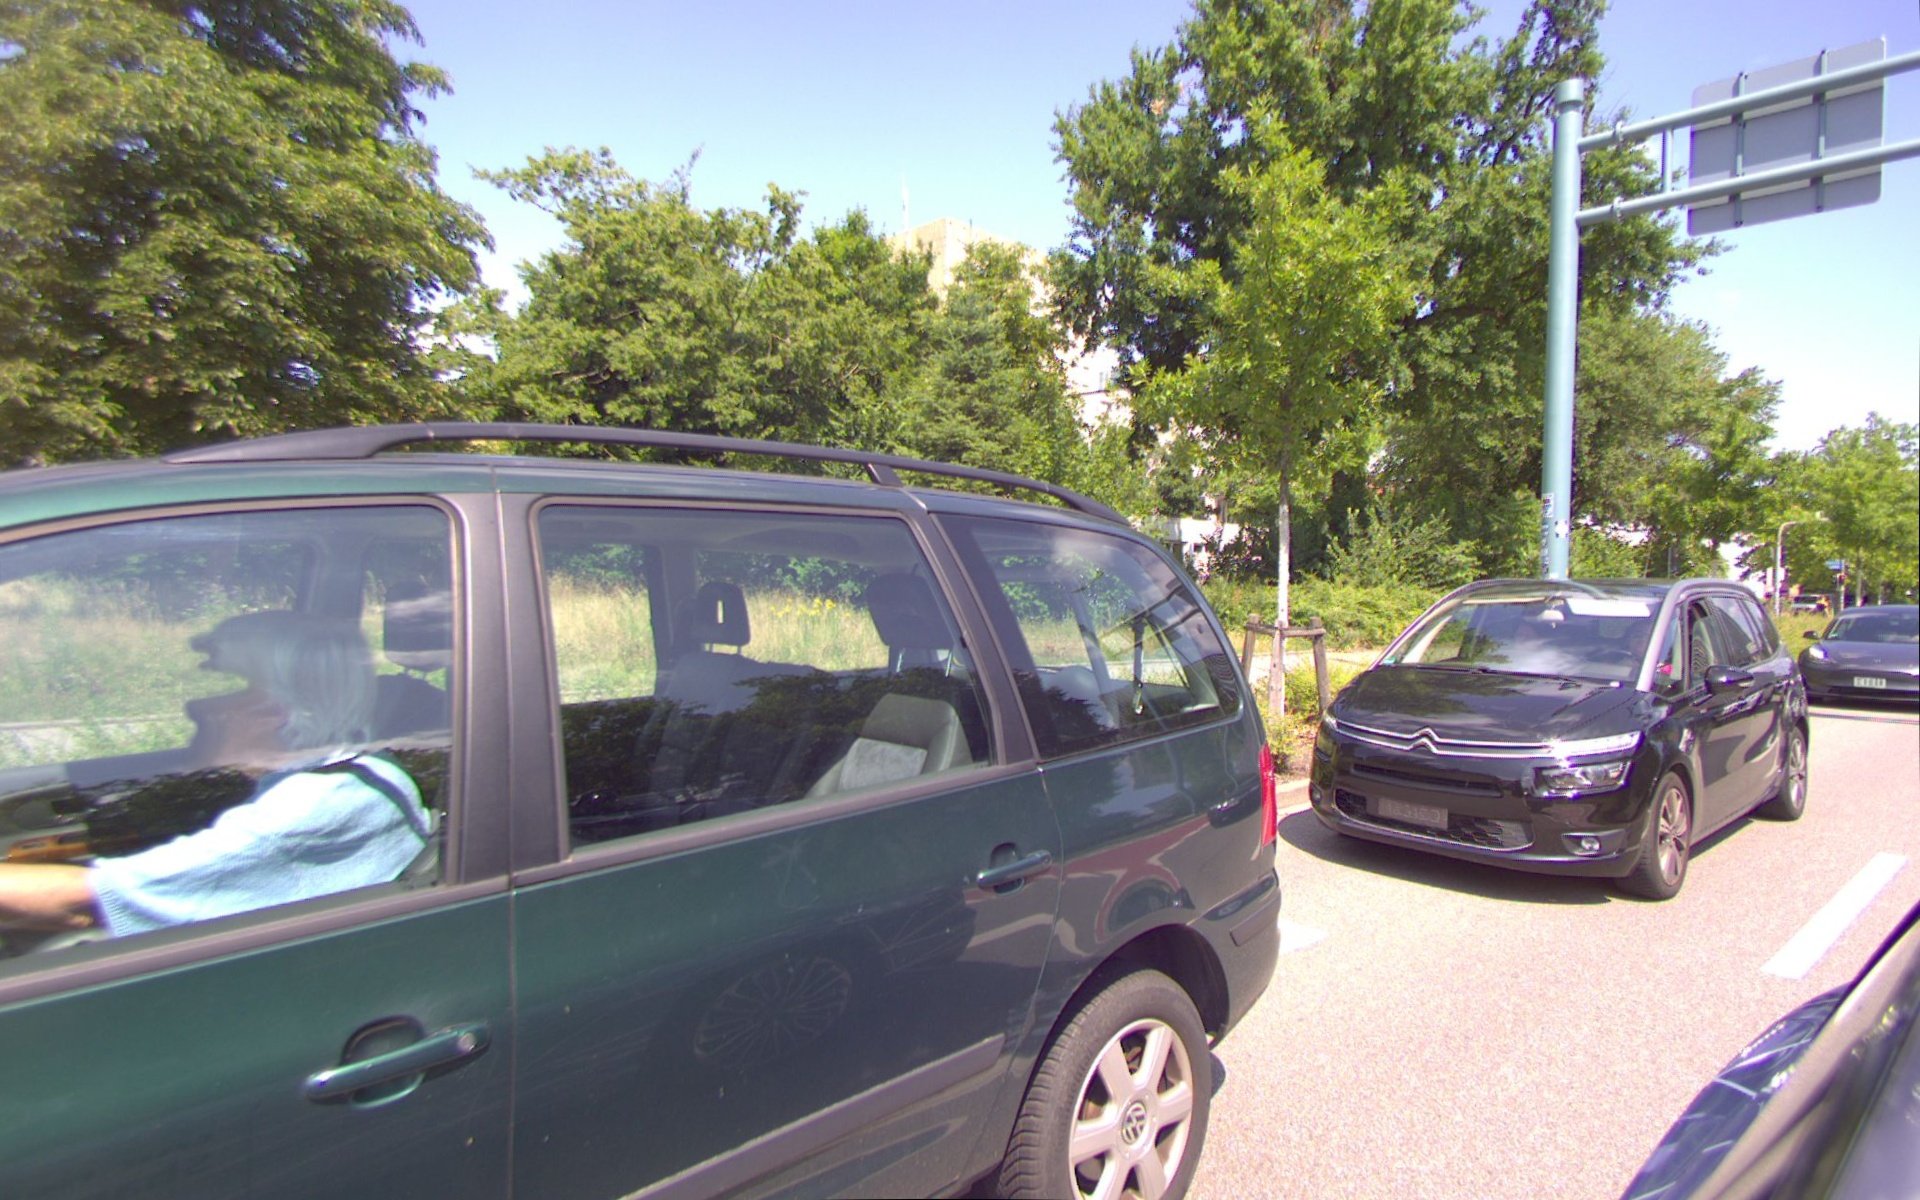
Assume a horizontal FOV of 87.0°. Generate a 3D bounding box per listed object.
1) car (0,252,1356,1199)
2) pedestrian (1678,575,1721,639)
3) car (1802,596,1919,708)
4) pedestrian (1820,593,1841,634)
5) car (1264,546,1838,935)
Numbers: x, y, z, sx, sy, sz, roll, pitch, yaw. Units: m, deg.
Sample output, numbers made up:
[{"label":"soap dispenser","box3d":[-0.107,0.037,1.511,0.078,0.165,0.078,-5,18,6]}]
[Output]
[{"label":"car","box3d":[-1.144,0.537,1.981,4.315,1.737,1.804,0,-1,-41]},{"label":"pedestrian","box3d":[24.095,0.217,32.962,0.884,2.063,0.846,1,0,-35]},{"label":"car","box3d":[13.786,0.678,14.652,4.085,1.386,1.805,-1,2,-41]},{"label":"pedestrian","box3d":[38.605,0.597,44.879,0.637,1.787,0.874,2,1,39]},{"label":"car","box3d":[3.936,0.601,6.384,4.400,1.628,1.815,1,-1,-41]}]
